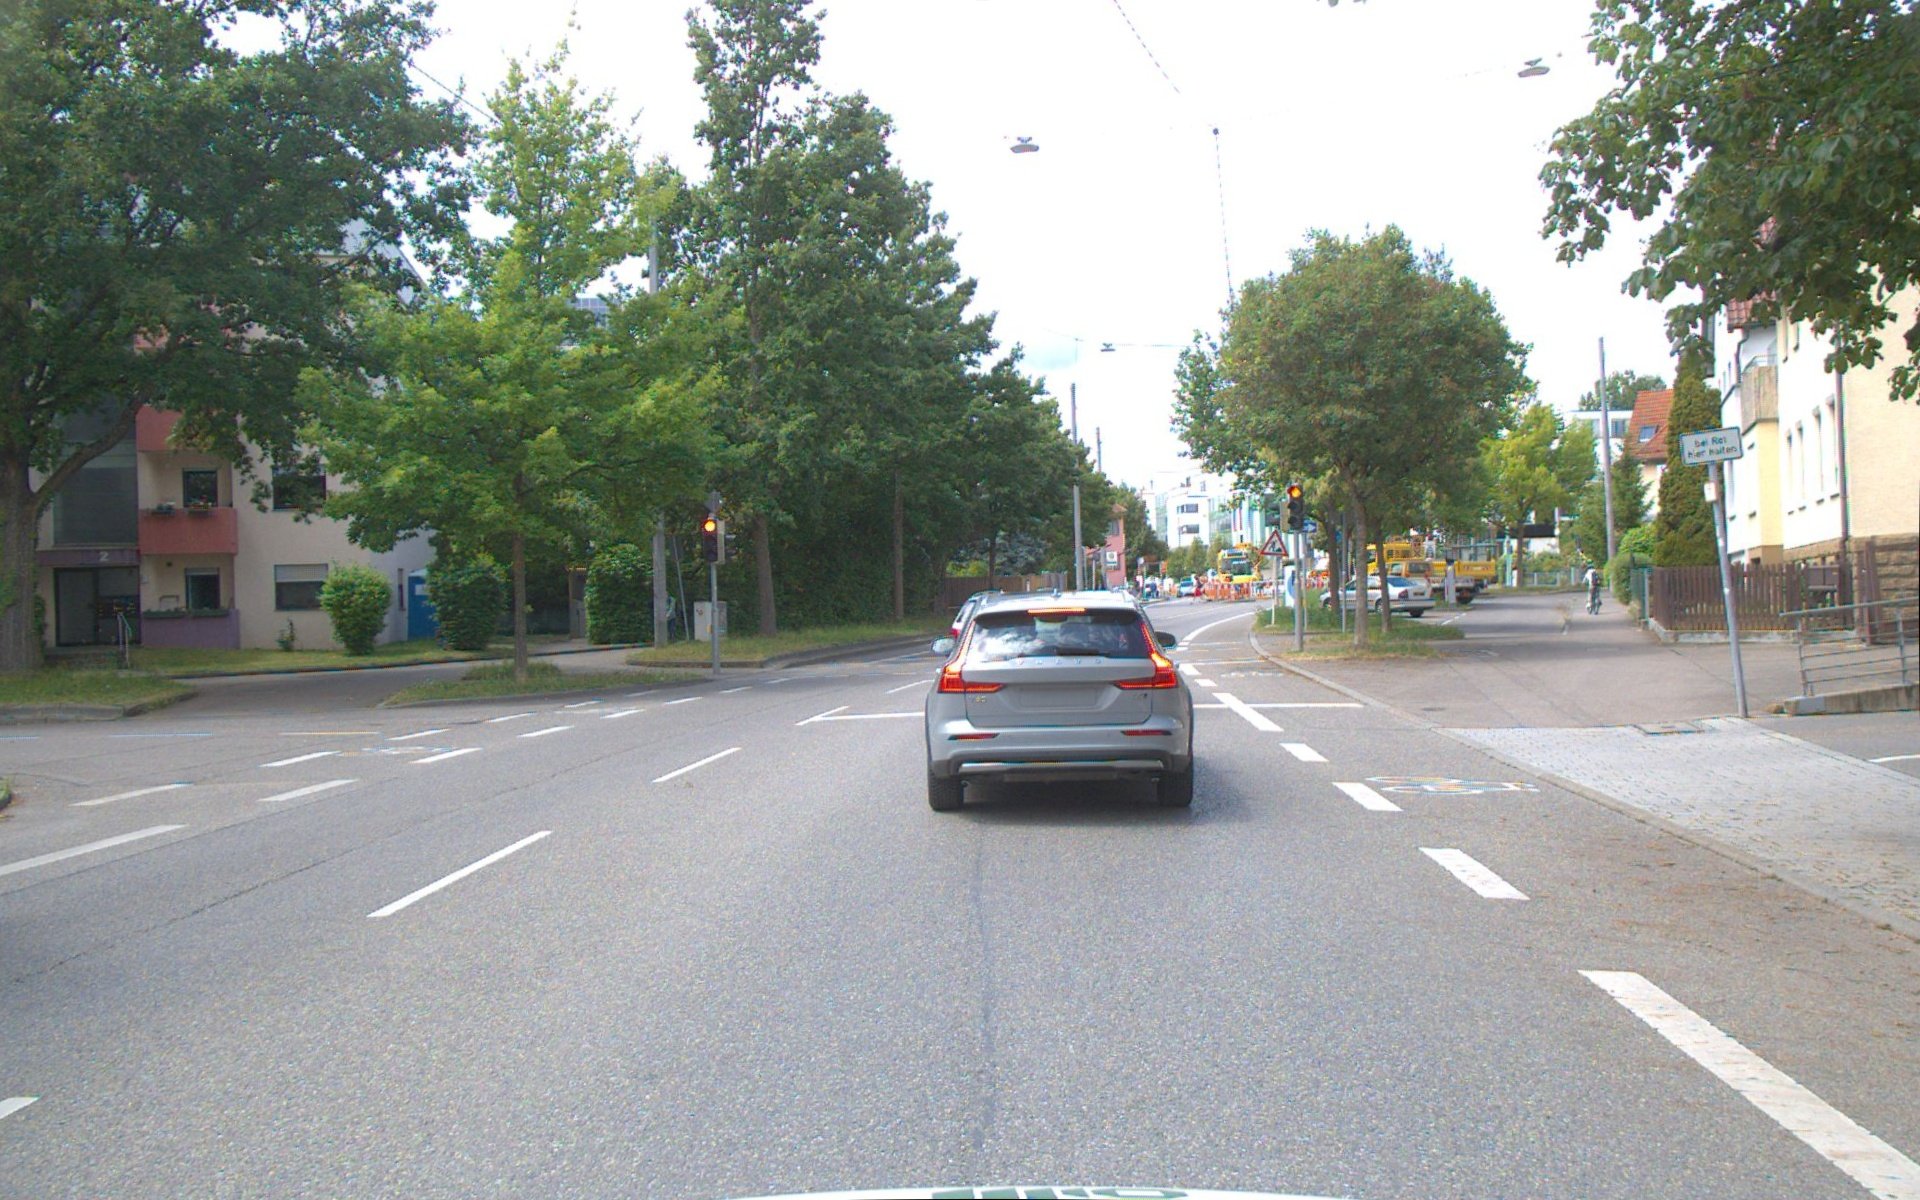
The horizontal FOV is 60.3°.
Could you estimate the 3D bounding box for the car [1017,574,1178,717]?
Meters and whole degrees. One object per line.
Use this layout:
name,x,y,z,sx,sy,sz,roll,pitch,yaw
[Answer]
car,1.693,0.493,20.695,1.766,1.550,4.331,2,1,4

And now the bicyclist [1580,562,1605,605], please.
bicyclist,21.126,-0.539,55.254,0.761,1.424,0.702,-1,-1,20

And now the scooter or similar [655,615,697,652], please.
scooter or similar,-7.960,0.939,46.352,0.945,0.978,0.682,-1,-1,-36

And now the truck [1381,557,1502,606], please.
truck,21.283,-0.796,73.049,5.546,2.049,2.065,0,-1,-34

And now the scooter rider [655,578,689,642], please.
scooter rider,-8.057,0.286,46.300,0.699,1.758,0.671,0,-1,-35

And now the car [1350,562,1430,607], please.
car,20.276,-0.711,77.968,3.728,2.049,1.719,0,-1,-38

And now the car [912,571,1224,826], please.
car,0.871,0.604,12.638,1.915,1.549,4.332,-2,0,5

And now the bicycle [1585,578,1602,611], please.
bicycle,21.140,-0.172,55.210,0.452,1.053,2.763,-1,-1,20

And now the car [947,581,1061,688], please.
car,0.683,0.577,28.430,1.767,1.644,4.328,2,-1,-1
